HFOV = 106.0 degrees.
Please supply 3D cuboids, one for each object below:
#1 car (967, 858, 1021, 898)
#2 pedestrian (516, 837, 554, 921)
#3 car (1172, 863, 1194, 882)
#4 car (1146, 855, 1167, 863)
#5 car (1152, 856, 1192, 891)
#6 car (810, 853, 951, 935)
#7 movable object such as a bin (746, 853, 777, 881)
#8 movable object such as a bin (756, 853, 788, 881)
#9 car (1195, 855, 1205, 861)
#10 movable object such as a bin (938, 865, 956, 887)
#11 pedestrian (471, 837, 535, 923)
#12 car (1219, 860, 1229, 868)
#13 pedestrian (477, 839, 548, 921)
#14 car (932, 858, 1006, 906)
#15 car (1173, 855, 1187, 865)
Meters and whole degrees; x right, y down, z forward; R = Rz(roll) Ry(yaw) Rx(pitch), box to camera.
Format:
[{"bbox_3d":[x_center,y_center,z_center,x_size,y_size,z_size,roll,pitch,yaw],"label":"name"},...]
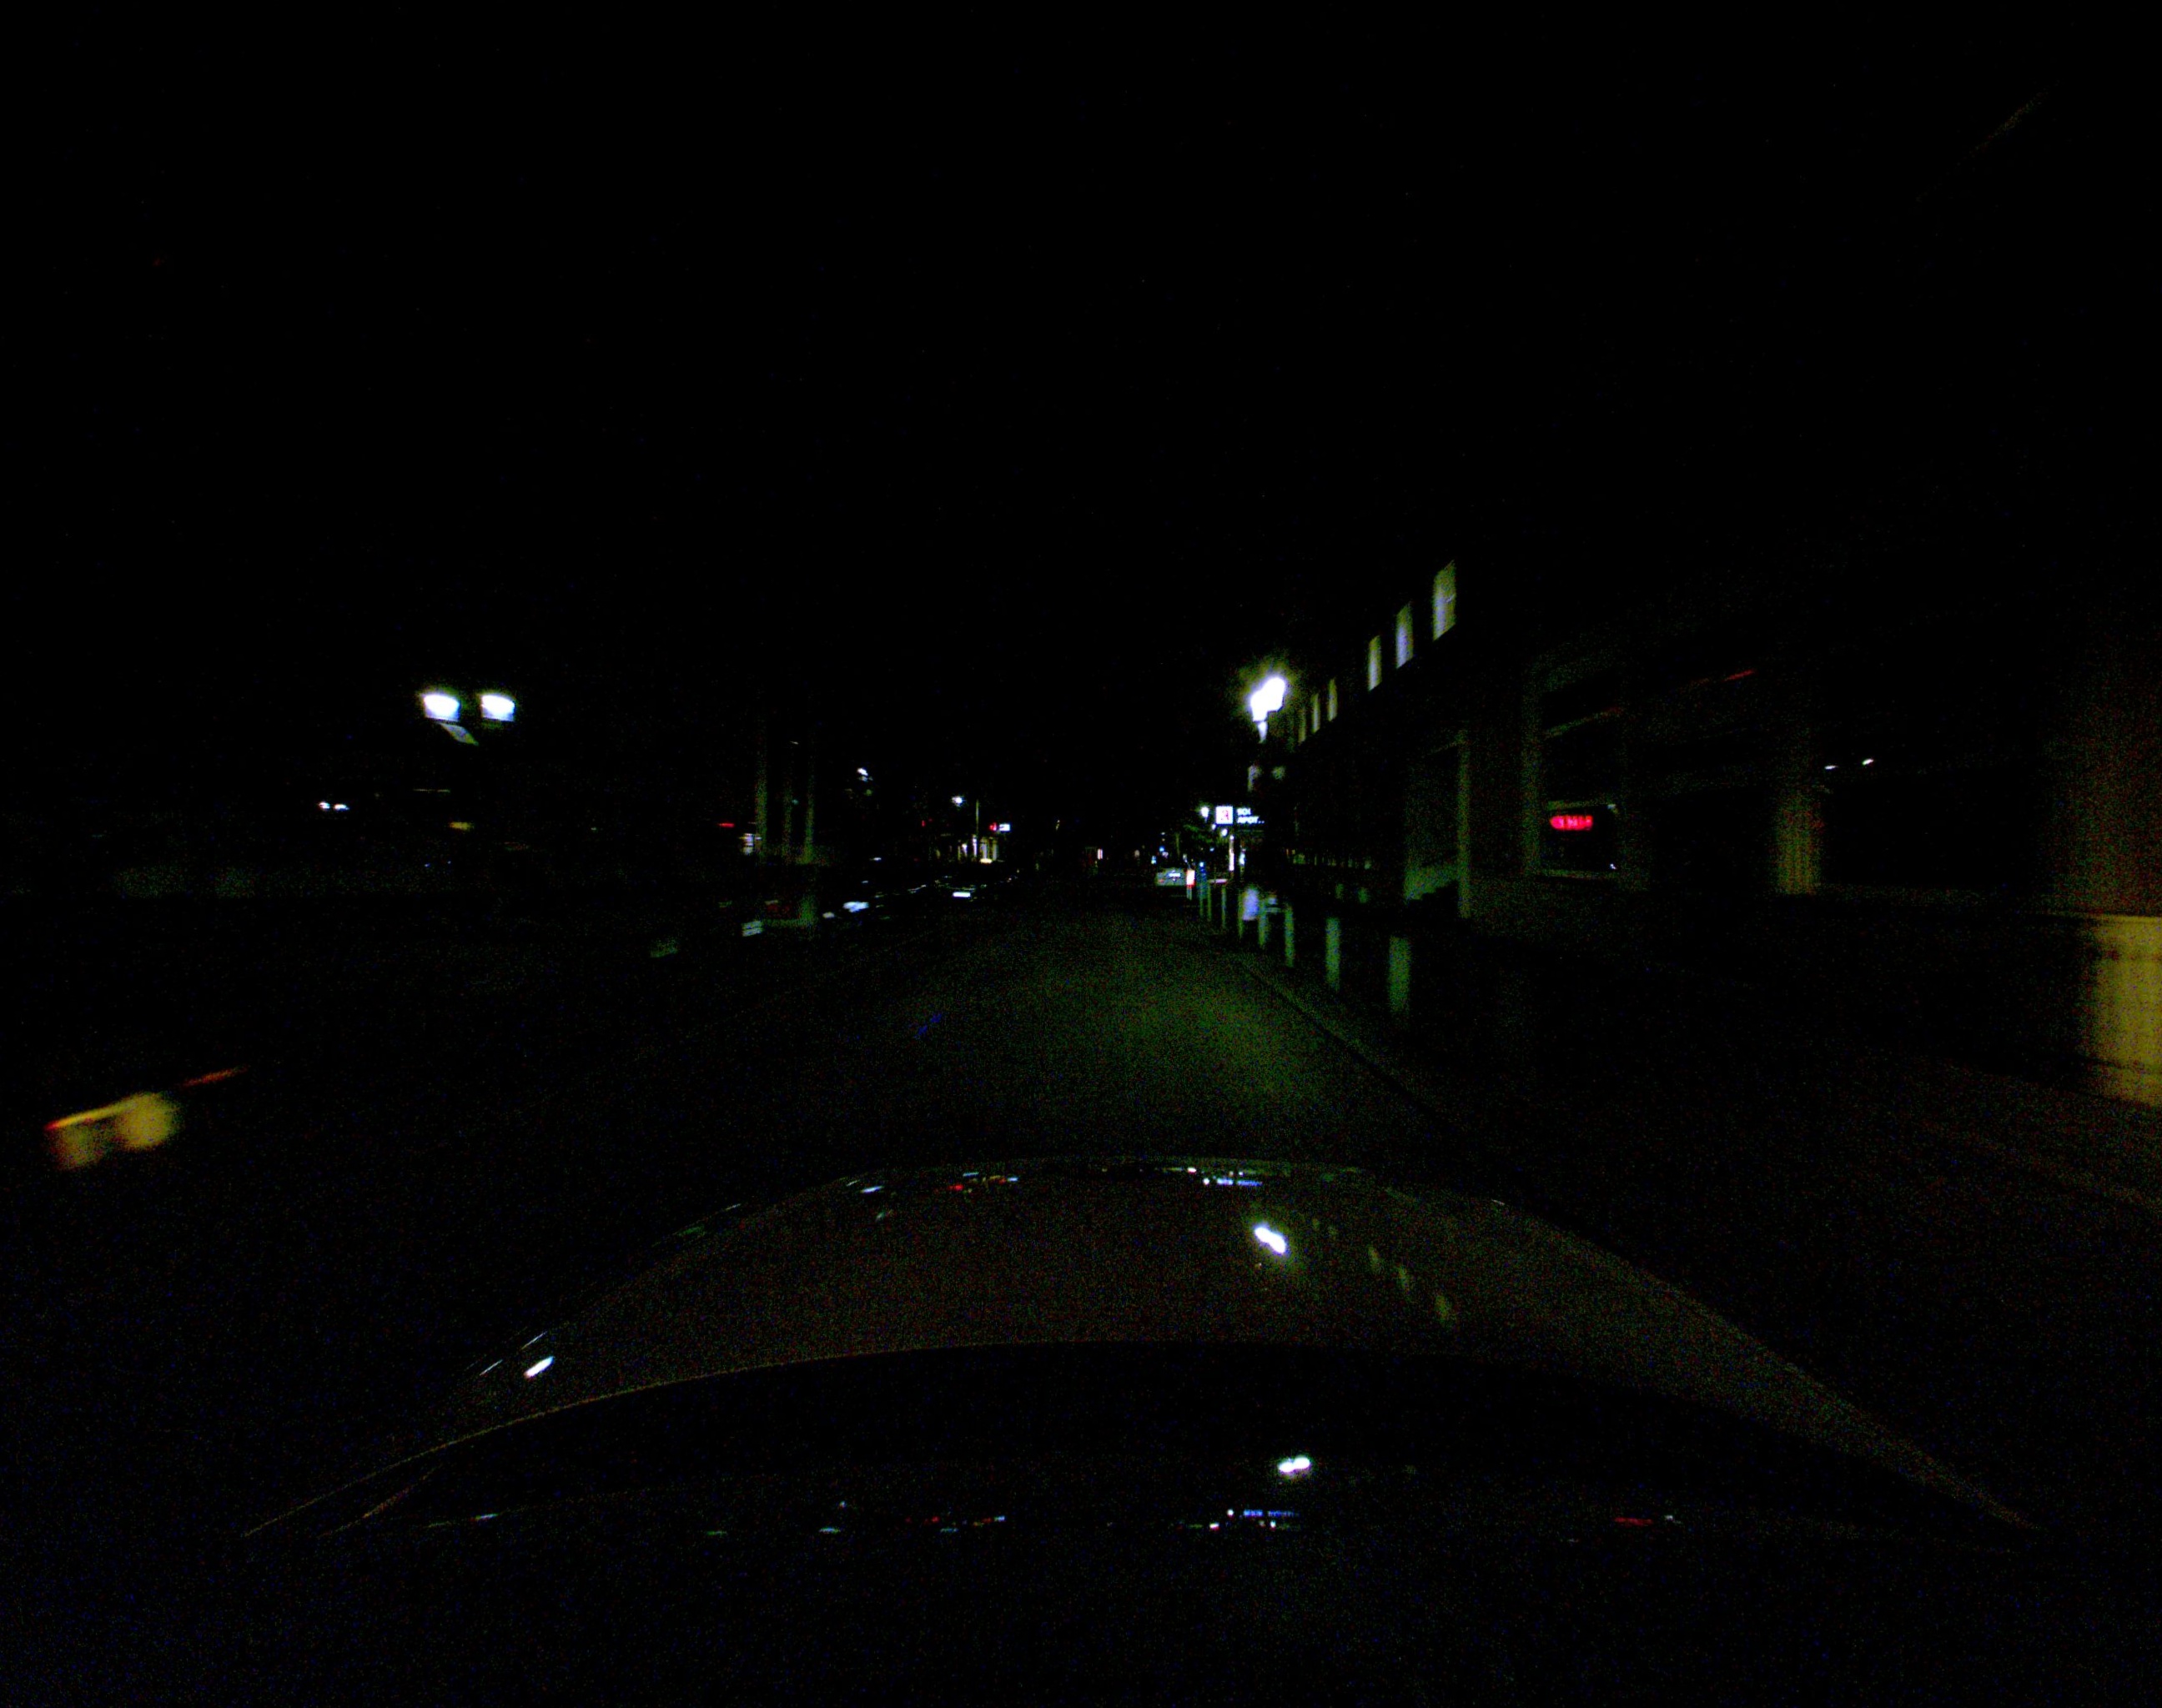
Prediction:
[{"bbox_3d":[-3.719,0.981,35.543,1.752,1.637,4.816,0,0,1],"label":"car"},{"bbox_3d":[-12.105,0.556,18.054,0.496,1.822,0.506,-1,-2,27],"label":"pedestrian"},{"bbox_3d":[8.383,1.470,67.049,1.725,1.441,4.506,-1,0,7],"label":"car"},{"bbox_3d":[16.315,1.077,175.894,4.135,1.438,1.849,-3,-1,16],"label":"car"},{"bbox_3d":[4.172,0.900,37.897,1.734,1.488,4.642,0,-1,5],"label":"car"},{"bbox_3d":[-4.322,0.818,18.309,1.763,1.574,4.487,1,-1,4],"label":"car"},{"bbox_3d":[-16.792,0.688,42.798,1.032,1.444,1.287,0,-1,4],"label":"movable object such as a bin"},{"bbox_3d":[-16.721,0.699,44.102,1.126,1.458,1.229,1,-1,4],"label":"movable object such as a bin"},{"bbox_3d":[28.921,1.054,197.728,1.900,1.370,4.475,-1,1,15],"label":"car"},{"bbox_3d":[-6.766,1.116,41.175,0.744,1.065,0.793,0,-2,2],"label":"movable object such as a bin"},{"bbox_3d":[-12.804,0.564,18.042,0.870,1.832,0.795,1,-1,28],"label":"pedestrian"},{"bbox_3d":[26.100,1.772,148.605,1.664,1.459,3.687,-1,0,11],"label":"car"},{"bbox_3d":[-13.069,0.579,18.741,0.785,1.817,1.029,1,-1,22],"label":"pedestrian"},{"bbox_3d":[-3.845,0.928,28.751,1.899,1.542,4.781,1,0,0],"label":"car"},{"bbox_3d":[17.604,1.127,144.597,2.004,1.691,5.021,1,0,13],"label":"car"}]
